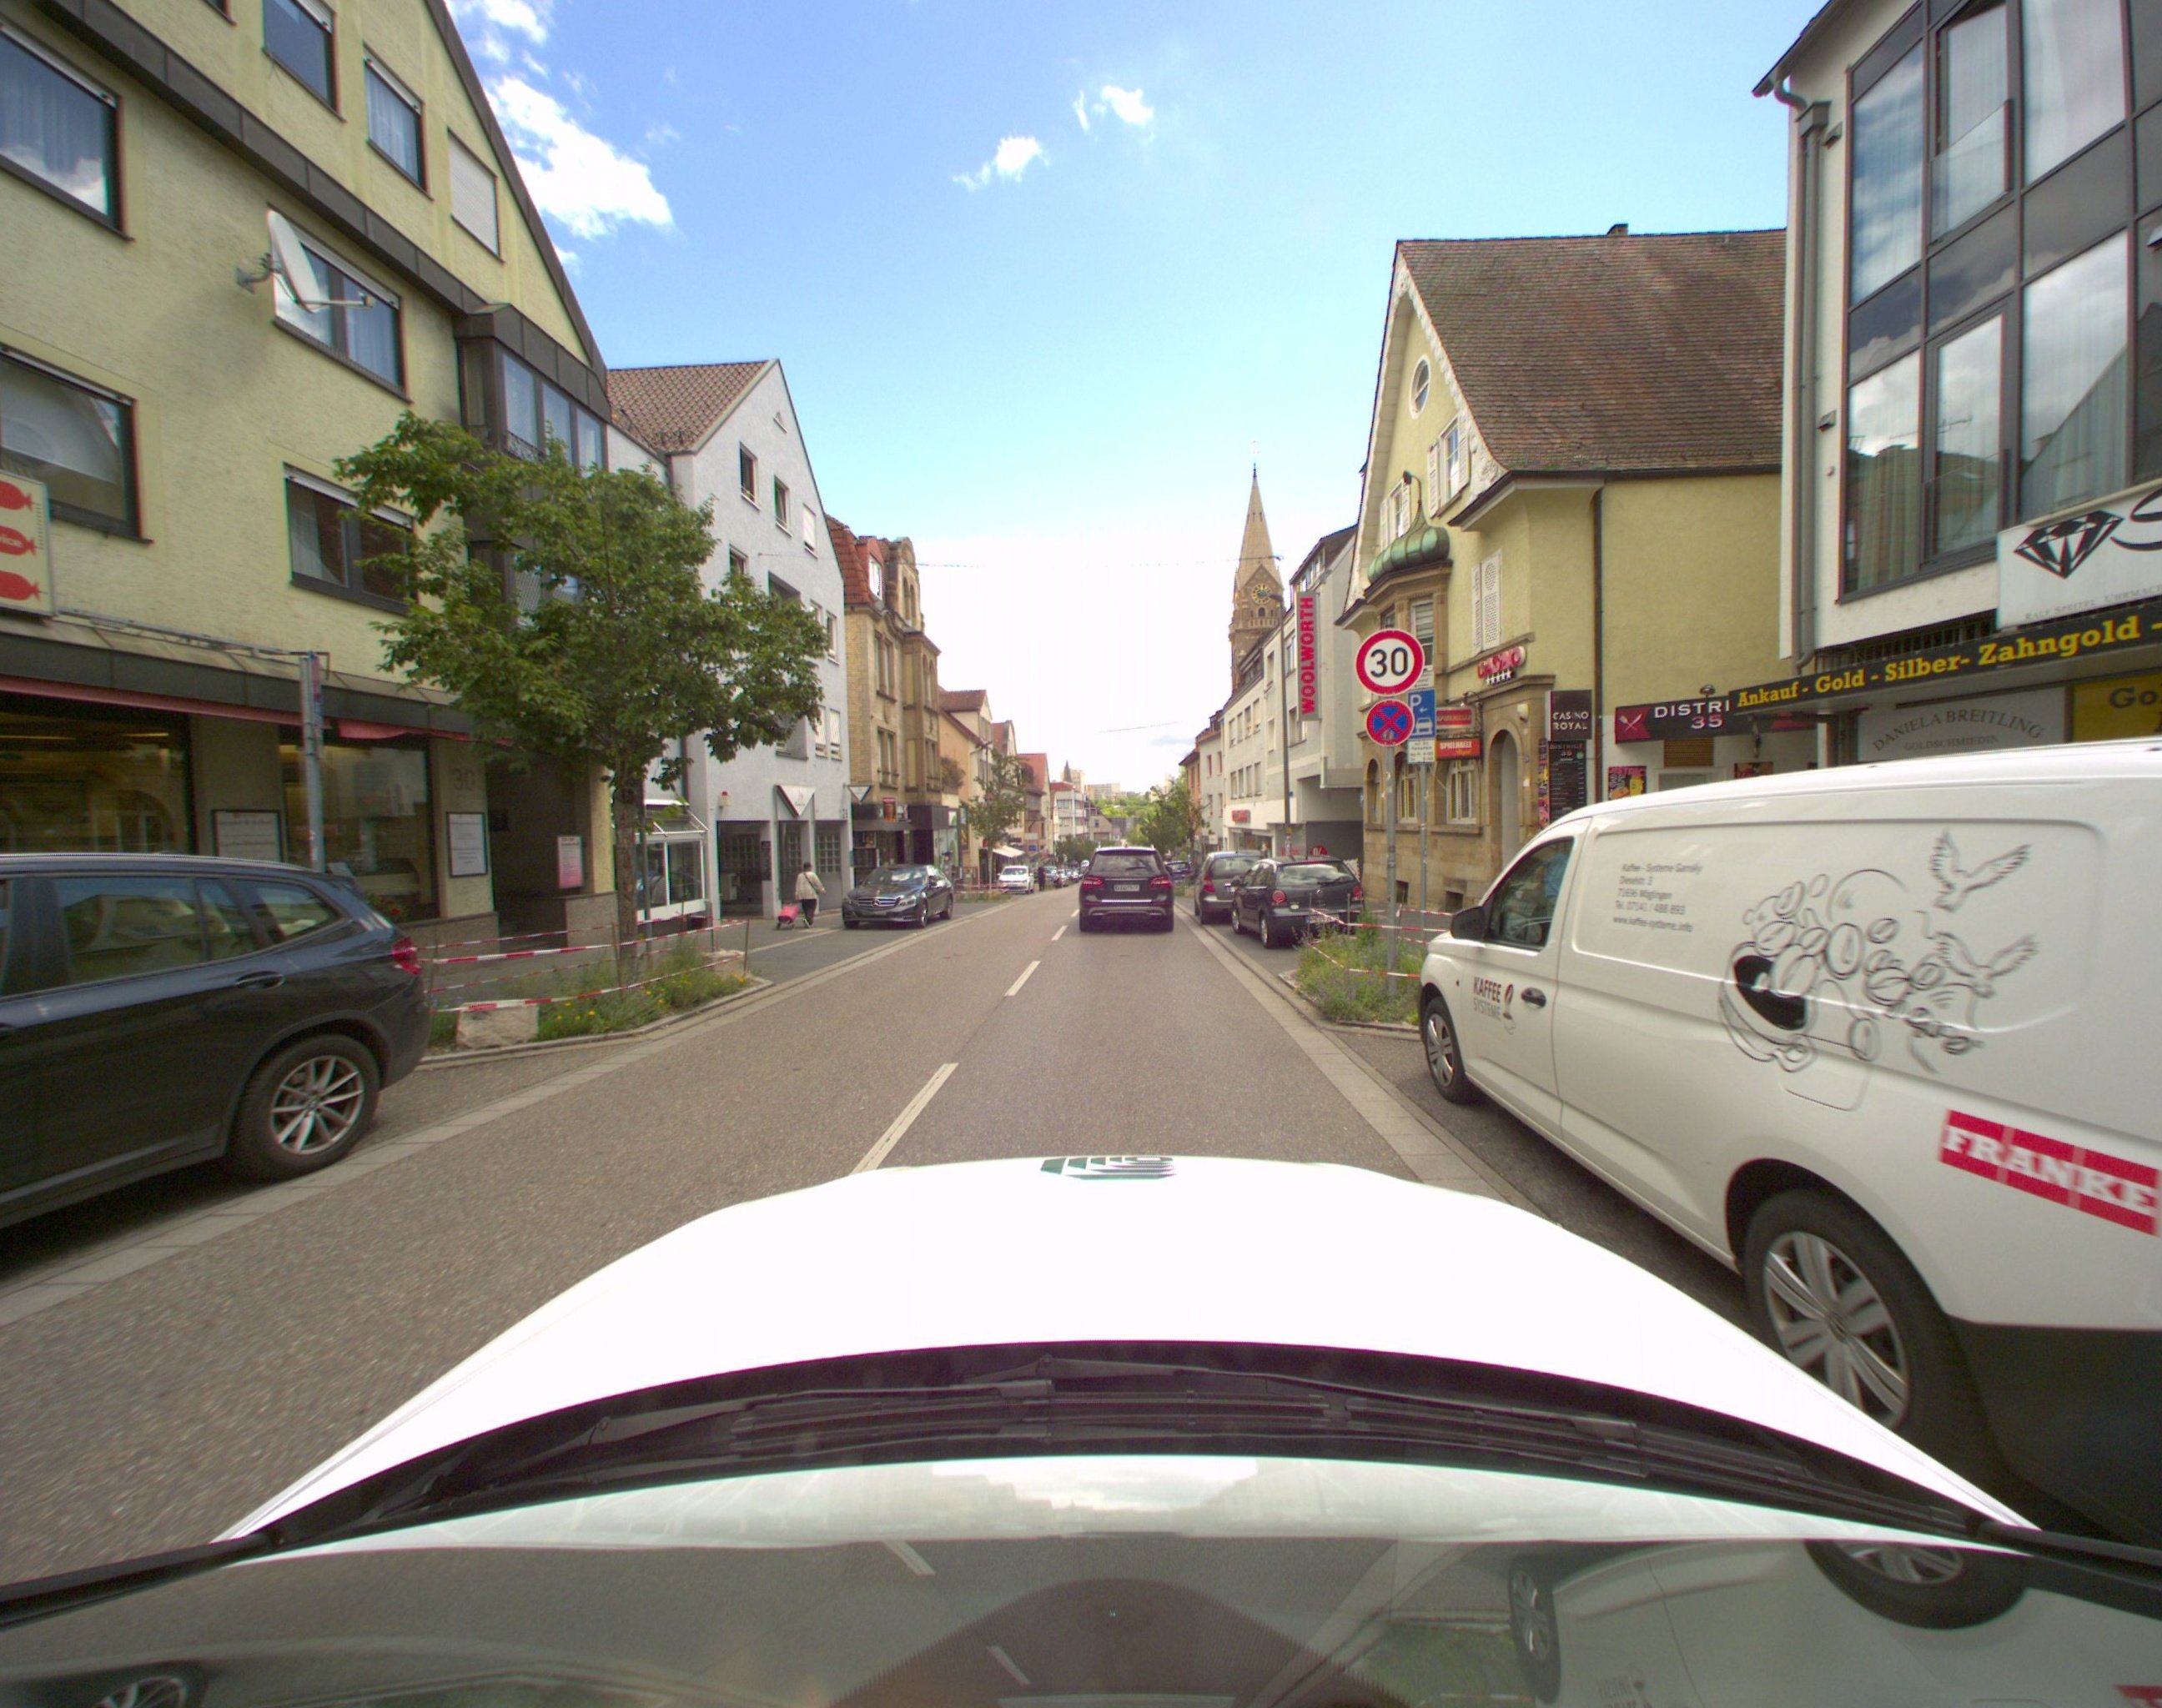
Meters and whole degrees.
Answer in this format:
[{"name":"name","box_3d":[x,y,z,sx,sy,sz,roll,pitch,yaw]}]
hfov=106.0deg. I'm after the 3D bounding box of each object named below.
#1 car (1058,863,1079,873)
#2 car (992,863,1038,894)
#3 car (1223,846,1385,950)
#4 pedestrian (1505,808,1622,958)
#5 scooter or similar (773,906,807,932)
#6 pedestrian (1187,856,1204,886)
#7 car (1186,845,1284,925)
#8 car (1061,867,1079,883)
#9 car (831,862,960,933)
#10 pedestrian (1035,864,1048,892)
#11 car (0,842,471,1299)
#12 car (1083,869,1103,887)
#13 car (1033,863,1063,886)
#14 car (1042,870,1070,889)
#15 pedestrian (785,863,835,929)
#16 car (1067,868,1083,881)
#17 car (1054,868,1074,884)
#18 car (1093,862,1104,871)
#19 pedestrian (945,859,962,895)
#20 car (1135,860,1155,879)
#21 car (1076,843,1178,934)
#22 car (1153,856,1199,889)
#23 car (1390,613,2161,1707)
[{"name":"car","box_3d":[-2.341,2.696,156.684,3.976,1.750,1.999,-4,-1,-2]},{"name":"car","box_3d":[-3.406,1.235,42.851,1.919,1.511,4.263,0,0,2]},{"name":"car","box_3d":[3.739,0.688,14.366,1.742,1.509,3.874,-3,-1,0]},{"name":"pedestrian","box_3d":[5.919,0.349,10.056,0.793,1.727,1.053,-2,-1,3]},{"name":"scooter or similar","box_3d":[-6.426,1.431,17.992,0.522,0.519,0.573,1,-1,2]},{"name":"pedestrian","box_3d":[6.275,0.924,44.739,0.753,1.561,0.817,-3,-1,0]},{"name":"car","box_3d":[3.507,0.662,19.192,1.741,1.608,3.803,-3,-1,3]},{"name":"car","box_3d":[-1.159,2.265,88.813,1.921,1.595,4.456,1,0,-1]},{"name":"car","box_3d":[-4.413,0.971,20.211,1.919,1.492,4.844,1,0,2]},{"name":"pedestrian","box_3d":[-2.390,1.468,49.439,0.735,1.672,0.863,-1,-1,0]},{"name":"car","box_3d":[-5.008,0.803,2.946,1.999,1.693,4.610,0,0,2]},{"name":"car","box_3d":[1.180,2.410,82.110,1.813,1.618,4.134,-3,-2,0]},{"name":"car","box_3d":[-2.401,1.515,60.131,1.919,1.621,4.640,0,-1,2]},{"name":"car","box_3d":[-2.023,2.105,67.842,1.918,1.430,4.266,-1,-1,3]},{"name":"pedestrian","box_3d":[-6.206,0.953,18.705,0.823,1.463,0.810,1,-1,2]},{"name":"car","box_3d":[-0.770,2.622,105.244,1.919,1.497,4.263,1,0,2]},{"name":"car","box_3d":[-1.643,2.214,81.432,1.920,1.497,4.261,1,0,0]},{"name":"car","box_3d":[3.175,2.272,146.158,1.919,1.628,4.265,1,0,3]},{"name":"pedestrian","box_3d":[-5.272,0.940,33.605,0.487,1.463,0.561,1,-1,11]},{"name":"car","box_3d":[6.834,1.647,87.305,1.930,1.891,4.709,-3,-1,2]},{"name":"car","box_3d":[1.000,0.665,17.785,1.935,1.740,4.182,-1,0,3]},{"name":"car","box_3d":[4.916,0.998,42.700,1.744,1.498,3.796,-4,-2,-2]},{"name":"car","box_3d":[2.930,0.498,3.440,1.867,1.799,4.740,-1,0,6]}]
